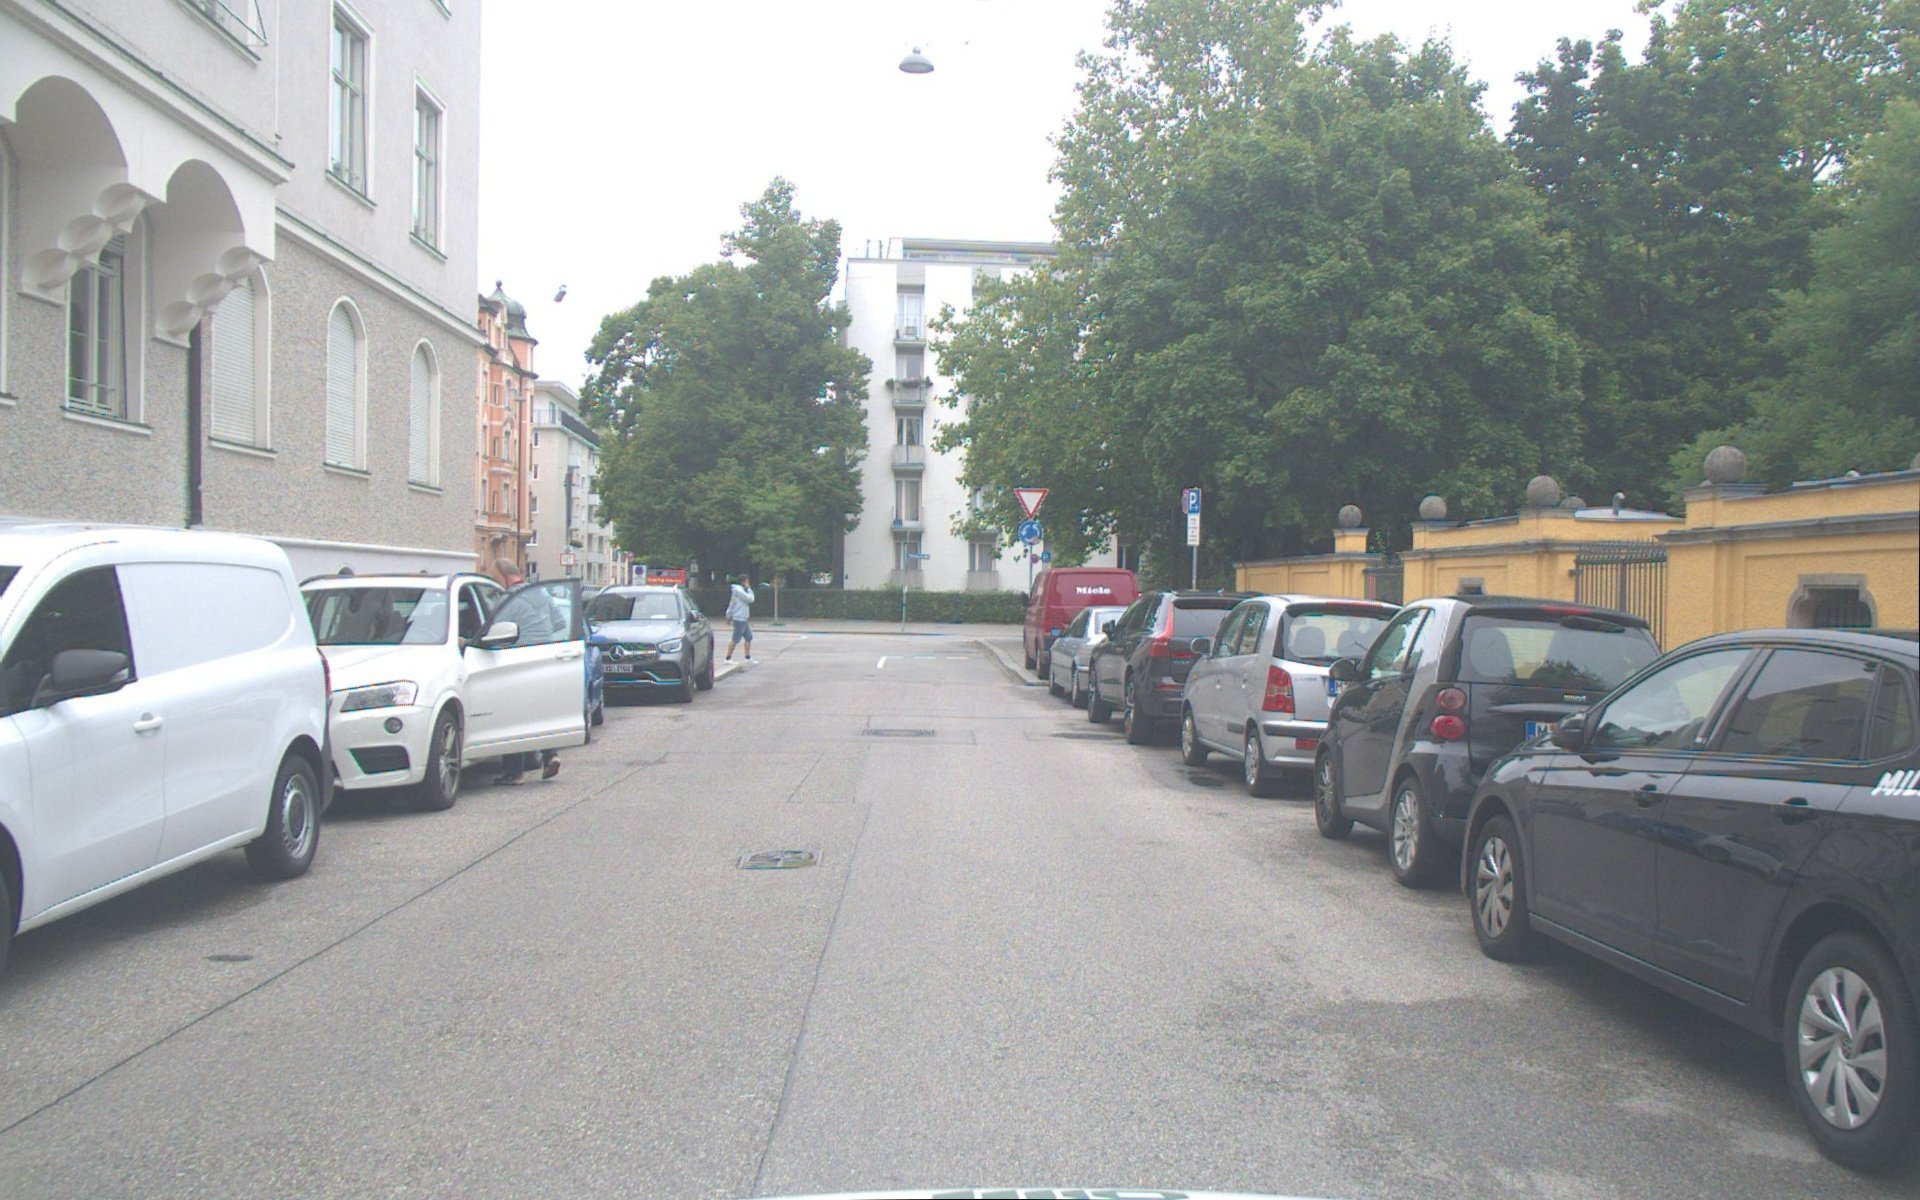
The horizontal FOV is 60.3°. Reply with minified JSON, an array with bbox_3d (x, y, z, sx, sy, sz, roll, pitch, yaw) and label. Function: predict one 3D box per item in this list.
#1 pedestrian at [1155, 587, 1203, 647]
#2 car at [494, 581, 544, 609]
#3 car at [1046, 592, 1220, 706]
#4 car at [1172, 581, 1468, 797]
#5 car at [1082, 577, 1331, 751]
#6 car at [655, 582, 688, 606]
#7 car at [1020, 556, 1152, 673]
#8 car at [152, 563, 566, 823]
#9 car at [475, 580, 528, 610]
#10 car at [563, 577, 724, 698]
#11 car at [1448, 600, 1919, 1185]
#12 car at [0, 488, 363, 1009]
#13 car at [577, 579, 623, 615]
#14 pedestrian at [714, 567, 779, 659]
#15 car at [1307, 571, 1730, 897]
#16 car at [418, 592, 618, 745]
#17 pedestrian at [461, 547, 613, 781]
[{"bbox_3d":[5.035,0.385,38.119,0.988,1.361,0.877,1,0,2],"label":"pedestrian"},{"bbox_3d":[-25.863,-0.301,97.153,1.936,1.608,4.405,1,0,-3],"label":"car"},{"bbox_3d":[2.529,0.677,25.255,1.847,1.474,4.365,3,0,-4],"label":"car"},{"bbox_3d":[2.949,0.657,14.286,1.455,1.566,3.689,3,0,-4],"label":"car"},{"bbox_3d":[2.679,0.625,19.160,1.847,1.681,4.821,3,0,-3],"label":"car"},{"bbox_3d":[-20.581,-0.459,118.006,1.798,1.663,3.818,0,1,-3],"label":"car"},{"bbox_3d":[2.268,0.235,30.979,1.836,1.954,4.885,2,0,-2],"label":"car"},{"bbox_3d":[-4.349,0.570,12.764,1.712,1.630,4.494,-1,0,-3],"label":"car"},{"bbox_3d":[-25.527,-0.295,92.166,1.936,1.608,4.405,1,0,-4],"label":"car"},{"bbox_3d":[-4.612,0.489,24.684,1.712,1.630,4.494,-1,0,-3],"label":"car"},{"bbox_3d":[3.196,0.774,5.654,1.658,1.439,4.034,3,0,-3],"label":"car"},{"bbox_3d":[-4.249,0.515,7.042,1.711,1.819,5.035,0,0,-2],"label":"car"},{"bbox_3d":[-15.682,-0.157,72.222,1.786,1.531,4.412,0,1,-10],"label":"car"},{"bbox_3d":[-4.276,0.262,33.092,1.037,1.802,0.868,1,0,-30],"label":"pedestrian"},{"bbox_3d":[3.148,0.676,9.860,1.477,1.593,2.869,3,0,0],"label":"car"},{"bbox_3d":[-4.605,0.642,17.667,1.660,1.439,3.655,-1,0,-9],"label":"car"},{"bbox_3d":[-3.402,0.486,13.272,0.952,1.786,0.867,1,0,-32],"label":"pedestrian"}]
